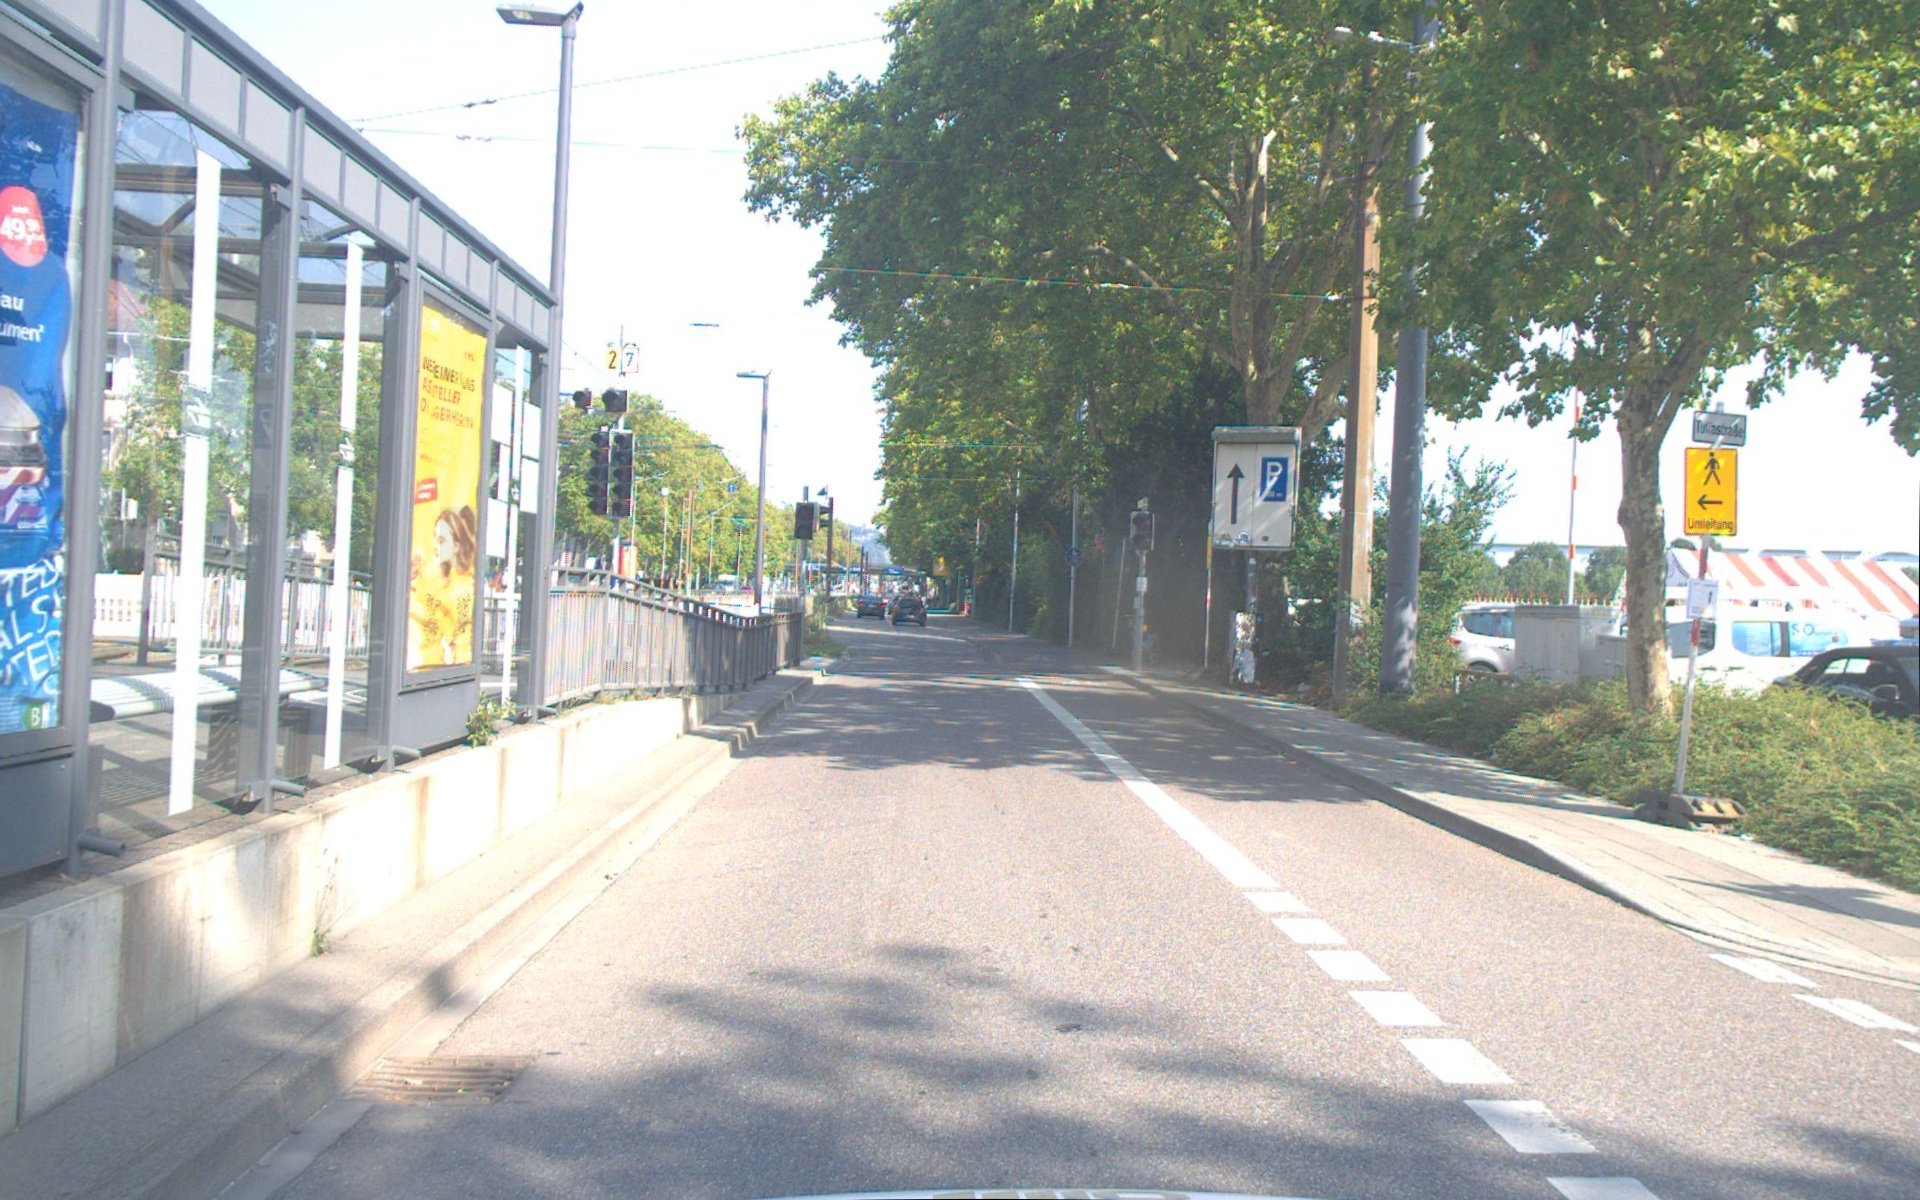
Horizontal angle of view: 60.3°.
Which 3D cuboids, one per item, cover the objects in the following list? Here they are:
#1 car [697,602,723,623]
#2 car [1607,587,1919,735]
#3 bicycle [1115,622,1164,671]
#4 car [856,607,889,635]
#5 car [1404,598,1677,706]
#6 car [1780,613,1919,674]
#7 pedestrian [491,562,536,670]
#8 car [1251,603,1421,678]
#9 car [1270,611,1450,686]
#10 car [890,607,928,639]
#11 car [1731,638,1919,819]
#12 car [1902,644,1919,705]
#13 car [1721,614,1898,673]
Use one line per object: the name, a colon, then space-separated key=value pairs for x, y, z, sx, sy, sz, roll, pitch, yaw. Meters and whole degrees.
car: x=-23.211 y=1.189 z=153.871 sx=1.954 sy=1.870 sz=3.998 roll=-1 pitch=-1 yaw=-3
car: x=11.519 y=0.827 z=23.370 sx=4.019 sy=1.952 sz=1.848 roll=1 pitch=0 yaw=1
bicycle: x=4.167 y=1.077 z=38.596 sx=0.598 sy=1.039 sz=2.399 roll=3 pitch=0 yaw=-6
car: x=-5.363 y=1.259 z=101.175 sx=1.934 sy=1.564 sz=3.998 roll=-1 pitch=0 yaw=-3
car: x=9.884 y=0.858 z=28.356 sx=3.908 sy=1.614 sz=1.999 roll=3 pitch=0 yaw=-3
car: x=25.206 y=1.222 z=45.545 sx=4.258 sy=1.489 sz=1.946 roll=3 pitch=0 yaw=-4
pedestrian: x=-7.779 y=0.276 z=28.840 sx=0.695 sy=1.853 sz=0.771 roll=1 pitch=-1 yaw=-12
car: x=9.874 y=1.046 z=43.625 sx=3.908 sy=1.754 sz=1.999 roll=3 pitch=0 yaw=-3
car: x=9.930 y=1.187 z=41.249 sx=3.908 sy=1.614 sz=1.999 roll=3 pitch=0 yaw=-3
car: x=-2.652 y=1.164 z=85.274 sx=1.869 sy=1.564 sz=3.998 roll=0 pitch=0 yaw=-3
car: x=9.137 y=1.169 z=15.592 sx=1.693 sy=1.474 sz=4.115 roll=1 pitch=0 yaw=-2
car: x=25.853 y=1.937 z=40.621 sx=4.301 sy=1.489 sz=1.948 roll=3 pitch=0 yaw=1
car: x=25.167 y=1.282 z=49.107 sx=4.258 sy=1.489 sz=1.946 roll=3 pitch=0 yaw=-4
